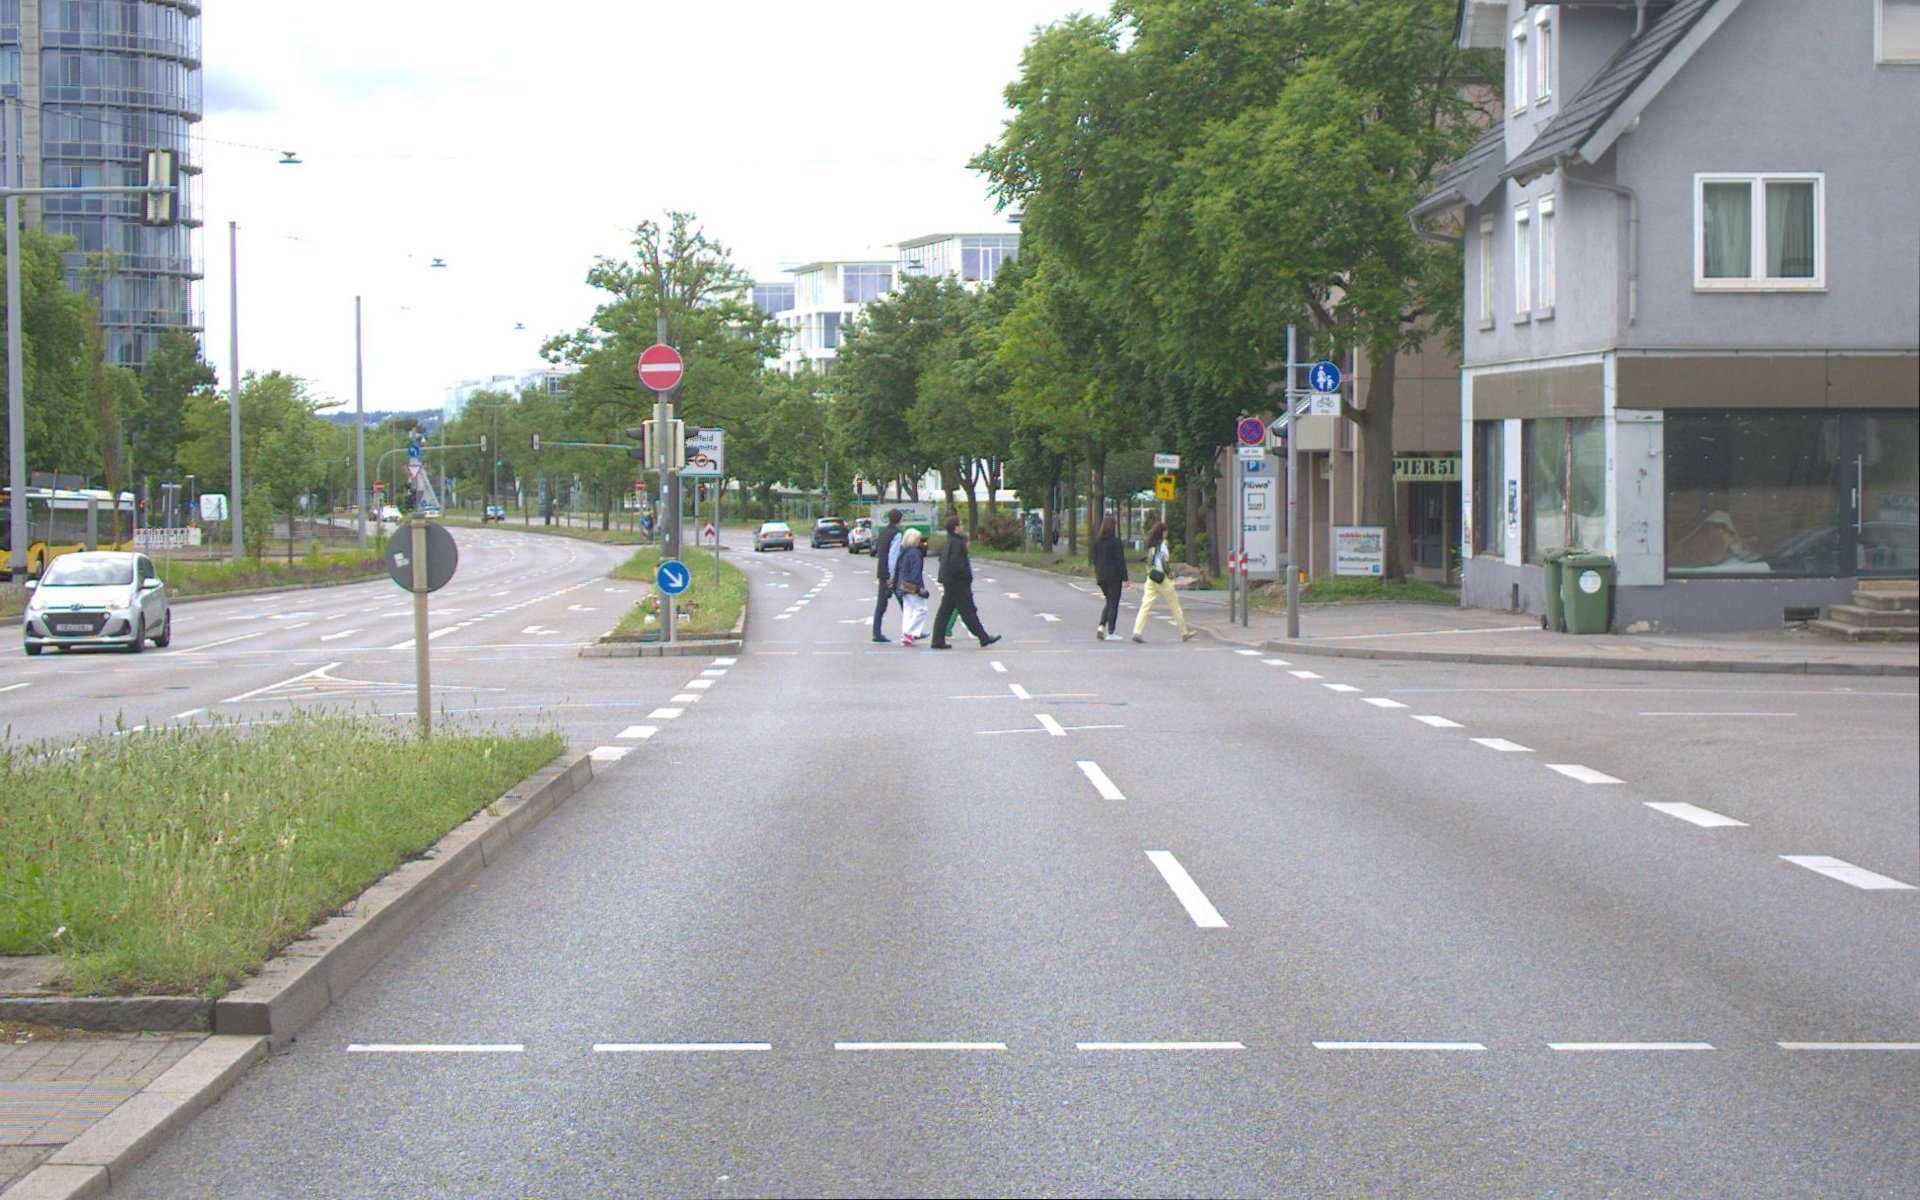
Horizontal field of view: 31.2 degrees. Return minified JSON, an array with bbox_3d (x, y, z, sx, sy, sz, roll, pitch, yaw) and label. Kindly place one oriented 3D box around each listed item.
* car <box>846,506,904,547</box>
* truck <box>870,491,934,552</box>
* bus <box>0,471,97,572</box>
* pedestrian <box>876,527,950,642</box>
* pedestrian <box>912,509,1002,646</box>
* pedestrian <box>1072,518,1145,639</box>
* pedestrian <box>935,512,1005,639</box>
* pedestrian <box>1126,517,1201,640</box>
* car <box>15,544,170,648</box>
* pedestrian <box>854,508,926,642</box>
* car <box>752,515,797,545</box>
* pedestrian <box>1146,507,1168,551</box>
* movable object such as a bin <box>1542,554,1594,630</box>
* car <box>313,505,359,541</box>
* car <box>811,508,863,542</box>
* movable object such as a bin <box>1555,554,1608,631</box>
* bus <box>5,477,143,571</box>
[{"bbox_3d":[-3.777,-3.264,152.460,2.251,1.751,4.934,-1,1,-5],"label":"car"},{"bbox_3d":[-2.392,-3.180,140.100,2.251,2.408,4.934,-1,1,-5],"label":"truck"},{"bbox_3d":[-31.405,-2.569,114.465,3.144,3.214,10.286,-1,1,-3],"label":"bus"},{"bbox_3d":[-0.630,-0.214,45.589,0.867,1.502,0.708,-1,1,-9],"label":"pedestrian"},{"bbox_3d":[-0.045,-0.299,44.732,1.048,1.754,0.708,-1,1,-9],"label":"pedestrian"},{"bbox_3d":[2.055,-0.302,47.696,0.867,1.656,0.708,-1,1,-9],"label":"pedestrian"},{"bbox_3d":[0.136,-0.347,48.489,0.867,1.773,0.708,-1,1,-9],"label":"pedestrian"},{"bbox_3d":[2.775,-0.303,46.988,0.867,1.656,0.708,-1,1,-9],"label":"pedestrian"},{"bbox_3d":[-12.806,-0.089,50.927,1.684,1.457,3.556,-1,1,-5],"label":"car"},{"bbox_3d":[-0.950,-0.341,46.381,0.867,1.773,0.708,-1,1,-9],"label":"pedestrian"},{"bbox_3d":[-9.063,-3.421,167.695,1.967,1.415,4.023,-1,1,-5],"label":"car"},{"bbox_3d":[6.942,-2.495,121.105,0.650,1.564,0.671,-1,1,-8],"label":"pedestrian"},{"bbox_3d":[7.931,-0.104,44.845,0.529,0.976,0.736,-1,1,-1],"label":"movable object such as a bin"},{"bbox_3d":[-36.353,-4.466,200.261,1.965,2.007,4.000,1,1,-1],"label":"car"},{"bbox_3d":[-6.137,-3.691,170.771,2.250,1.641,4.934,-1,1,-5],"label":"car"},{"bbox_3d":[7.959,-0.102,44.054,0.529,0.976,0.736,-1,1,-1],"label":"movable object such as a bin"},{"bbox_3d":[-31.745,-2.710,123.469,3.144,3.214,7.766,-1,1,-2],"label":"bus"}]
